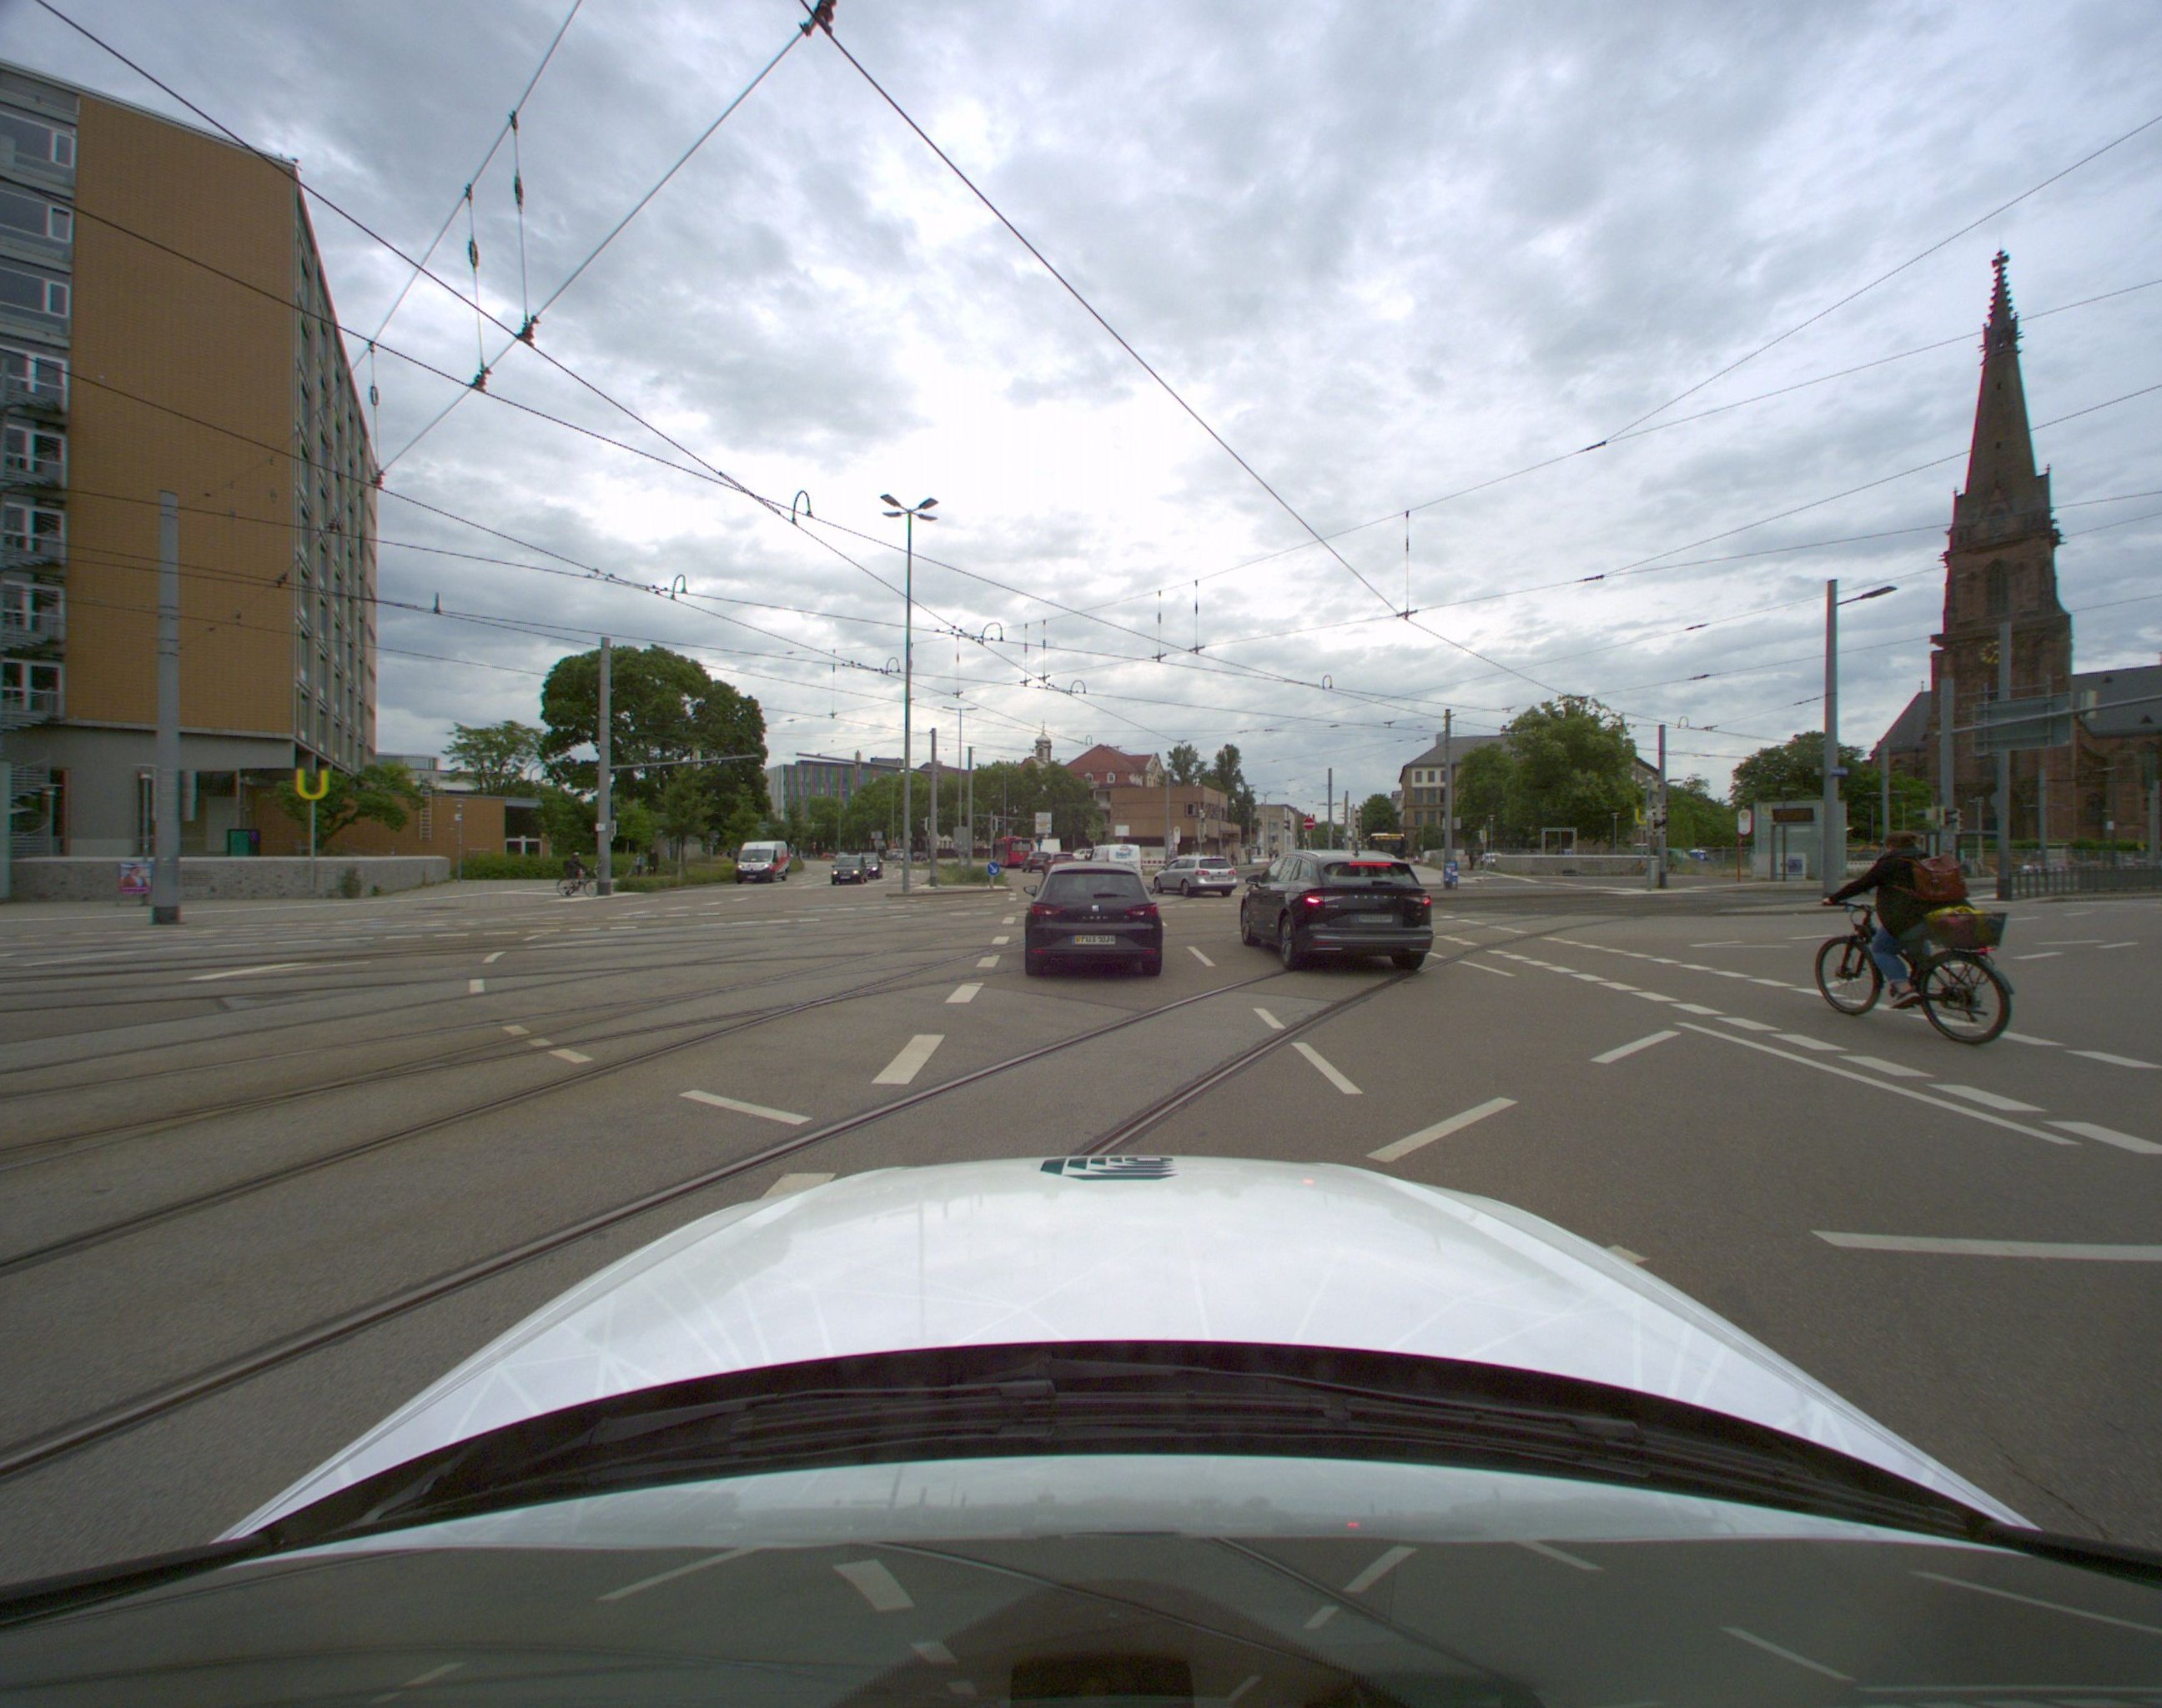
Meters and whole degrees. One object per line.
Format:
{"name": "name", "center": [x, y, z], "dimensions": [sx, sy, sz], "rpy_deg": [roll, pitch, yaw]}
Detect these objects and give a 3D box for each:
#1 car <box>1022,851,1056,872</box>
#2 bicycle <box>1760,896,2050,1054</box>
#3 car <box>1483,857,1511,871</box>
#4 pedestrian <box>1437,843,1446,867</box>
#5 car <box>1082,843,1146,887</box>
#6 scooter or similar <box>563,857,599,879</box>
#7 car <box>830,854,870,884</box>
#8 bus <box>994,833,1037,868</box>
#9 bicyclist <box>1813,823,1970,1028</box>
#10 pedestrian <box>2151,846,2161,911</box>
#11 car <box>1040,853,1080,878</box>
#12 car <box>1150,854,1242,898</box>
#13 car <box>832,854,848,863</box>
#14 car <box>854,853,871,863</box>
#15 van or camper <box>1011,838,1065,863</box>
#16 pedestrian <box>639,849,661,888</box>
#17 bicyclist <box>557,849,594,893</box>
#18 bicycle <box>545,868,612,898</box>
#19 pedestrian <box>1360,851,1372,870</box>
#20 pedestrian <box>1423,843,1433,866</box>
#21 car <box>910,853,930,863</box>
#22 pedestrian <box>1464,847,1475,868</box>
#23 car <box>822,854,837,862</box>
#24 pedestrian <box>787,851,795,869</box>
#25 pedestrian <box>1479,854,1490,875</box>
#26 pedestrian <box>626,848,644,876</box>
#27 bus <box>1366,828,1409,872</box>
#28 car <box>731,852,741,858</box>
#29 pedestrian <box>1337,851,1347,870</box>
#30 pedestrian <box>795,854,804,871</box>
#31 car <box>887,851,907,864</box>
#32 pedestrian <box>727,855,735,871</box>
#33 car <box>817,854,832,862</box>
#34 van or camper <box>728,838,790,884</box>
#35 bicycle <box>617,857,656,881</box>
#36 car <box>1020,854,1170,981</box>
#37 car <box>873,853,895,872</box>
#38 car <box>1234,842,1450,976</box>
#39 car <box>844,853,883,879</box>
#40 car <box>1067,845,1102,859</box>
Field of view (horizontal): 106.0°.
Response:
{"name": "car", "center": [-3.400, 0.582, 65.024], "dimensions": [1.996, 1.566, 4.186], "rpy_deg": [0, 0, -13]}
{"name": "bicycle", "center": [7.073, 0.963, 7.181], "dimensions": [0.621, 1.055, 2.130], "rpy_deg": [0, 0, 7]}
{"name": "car", "center": [49.525, 1.208, 97.115], "dimensions": [1.897, 1.662, 4.011], "rpy_deg": [0, 0, 10]}
{"name": "pedestrian", "center": [66.327, 0.174, 149.916], "dimensions": [1.299, 4.253, 1.350], "rpy_deg": [0, 0, 9]}
{"name": "car", "center": [1.552, 0.514, 40.545], "dimensions": [1.995, 2.019, 5.011], "rpy_deg": [0, 0, -12]}
{"name": "scooter or similar", "center": [-29.824, 0.848, 48.609], "dimensions": [1.777, 1.302, 0.625], "rpy_deg": [0, 0, -23]}
{"name": "car", "center": [-12.383, 0.794, 43.781], "dimensions": [1.618, 1.515, 3.653], "rpy_deg": [-1, 0, -9]}
{"name": "bus", "center": [-6.914, -0.324, 83.721], "dimensions": [3.060, 3.298, 12.331], "rpy_deg": [0, 0, -11]}
{"name": "bicyclist", "center": [7.069, 0.586, 7.145], "dimensions": [0.612, 1.690, 0.807], "rpy_deg": [0, 0, 7]}
{"name": "pedestrian", "center": [27.992, 0.613, 20.654], "dimensions": [0.893, 1.643, 0.789], "rpy_deg": [-1, -1, 44]}
{"name": "car", "center": [-1.406, 0.729, 53.768], "dimensions": [1.860, 1.600, 4.186], "rpy_deg": [0, 0, -13]}
{"name": "car", "center": [4.199, 0.773, 30.543], "dimensions": [1.724, 1.482, 4.604], "rpy_deg": [-1, 0, -15]}
{"name": "car", "center": [-44.029, 0.766, 148.687], "dimensions": [2.005, 1.640, 3.963], "rpy_deg": [0, 0, -29]}
{"name": "car", "center": [-39.868, 0.713, 148.580], "dimensions": [2.006, 1.750, 3.962], "rpy_deg": [0, 0, -29]}
{"name": "van or camper", "center": [-6.128, -0.496, 116.555], "dimensions": [7.183, 3.332, 2.845], "rpy_deg": [0, -2, -35]}
{"name": "pedestrian", "center": [-22.681, 0.756, 42.822], "dimensions": [0.818, 1.980, 0.657], "rpy_deg": [0, 0, -5]}
{"name": "bicyclist", "center": [-20.546, 0.696, 33.111], "dimensions": [0.810, 1.656, 0.793], "rpy_deg": [7, 1, -2]}
{"name": "bicycle", "center": [-20.435, 1.158, 33.125], "dimensions": [2.107, 1.028, 0.794], "rpy_deg": [5, -1, -2]}
{"name": "pedestrian", "center": [25.922, 0.591, 74.067], "dimensions": [0.995, 1.645, 1.027], "rpy_deg": [0, 0, 25]}
{"name": "pedestrian", "center": [63.931, 0.142, 150.155], "dimensions": [1.378, 4.253, 1.351], "rpy_deg": [0, 0, 11]}
{"name": "car", "center": [-23.942, 0.585, 121.027], "dimensions": [2.005, 1.539, 3.964], "rpy_deg": [0, 0, -28]}
{"name": "pedestrian", "center": [34.621, 0.338, 72.605], "dimensions": [0.816, 1.808, 1.027], "rpy_deg": [-1, -2, 25]}
{"name": "car", "center": [-51.464, 0.802, 166.707], "dimensions": [2.008, 1.750, 3.958], "rpy_deg": [0, 0, -34]}
{"name": "pedestrian", "center": [-30.208, 0.589, 84.791], "dimensions": [0.758, 1.842, 0.763], "rpy_deg": [0, 0, -14]}
{"name": "pedestrian", "center": [35.805, 0.926, 72.326], "dimensions": [0.816, 1.853, 1.027], "rpy_deg": [0, 0, 25]}
{"name": "pedestrian", "center": [-27.206, 0.483, 49.707], "dimensions": [0.745, 1.733, 0.685], "rpy_deg": [0, 0, -5]}
{"name": "bus", "center": [25.240, -0.261, 66.713], "dimensions": [2.990, 3.268, 13.111], "rpy_deg": [0, 0, 22]}
{"name": "car", "center": [-90.970, 0.279, 214.779], "dimensions": [1.724, 1.265, 3.304], "rpy_deg": [1, -2, -34]}
{"name": "pedestrian", "center": [24.640, 0.595, 76.863], "dimensions": [0.816, 1.808, 1.027], "rpy_deg": [0, 0, 25]}
{"name": "pedestrian", "center": [-30.348, 0.872, 87.748], "dimensions": [0.894, 1.842, 0.664], "rpy_deg": [0, 0, -14]}
{"name": "car", "center": [-29.680, 0.516, 131.389], "dimensions": [2.006, 2.013, 3.961], "rpy_deg": [0, 0, -31]}
{"name": "pedestrian", "center": [-32.845, 0.846, 76.478], "dimensions": [0.562, 1.541, 0.751], "rpy_deg": [0, -1, -14]}
{"name": "car", "center": [-49.788, 0.750, 158.215], "dimensions": [2.007, 1.681, 3.971], "rpy_deg": [0, 0, -31]}
{"name": "van or camper", "center": [-19.248, 0.395, 48.948], "dimensions": [2.279, 2.527, 5.555], "rpy_deg": [-1, 0, -9]}
{"name": "bicycle", "center": [-27.854, 0.913, 51.090], "dimensions": [0.840, 1.449, 2.263], "rpy_deg": [0, 0, 14]}
{"name": "car", "center": [0.075, 0.752, 11.580], "dimensions": [1.742, 1.464, 3.996], "rpy_deg": [1, 0, -3]}
{"name": "car", "center": [-18.999, 0.811, 78.377], "dimensions": [1.874, 1.725, 4.687], "rpy_deg": [-1, 0, -16]}
{"name": "car", "center": [3.660, 0.687, 12.357], "dimensions": [1.897, 1.658, 4.515], "rpy_deg": [0, 0, 1]}
{"name": "car", "center": [-13.564, 0.729, 51.005], "dimensions": [1.870, 1.508, 4.464], "rpy_deg": [-2, 0, -9]}
{"name": "car", "center": [0.508, -0.293, 121.243], "dimensions": [5.025, 1.865, 1.978], "rpy_deg": [0, -3, -35]}
